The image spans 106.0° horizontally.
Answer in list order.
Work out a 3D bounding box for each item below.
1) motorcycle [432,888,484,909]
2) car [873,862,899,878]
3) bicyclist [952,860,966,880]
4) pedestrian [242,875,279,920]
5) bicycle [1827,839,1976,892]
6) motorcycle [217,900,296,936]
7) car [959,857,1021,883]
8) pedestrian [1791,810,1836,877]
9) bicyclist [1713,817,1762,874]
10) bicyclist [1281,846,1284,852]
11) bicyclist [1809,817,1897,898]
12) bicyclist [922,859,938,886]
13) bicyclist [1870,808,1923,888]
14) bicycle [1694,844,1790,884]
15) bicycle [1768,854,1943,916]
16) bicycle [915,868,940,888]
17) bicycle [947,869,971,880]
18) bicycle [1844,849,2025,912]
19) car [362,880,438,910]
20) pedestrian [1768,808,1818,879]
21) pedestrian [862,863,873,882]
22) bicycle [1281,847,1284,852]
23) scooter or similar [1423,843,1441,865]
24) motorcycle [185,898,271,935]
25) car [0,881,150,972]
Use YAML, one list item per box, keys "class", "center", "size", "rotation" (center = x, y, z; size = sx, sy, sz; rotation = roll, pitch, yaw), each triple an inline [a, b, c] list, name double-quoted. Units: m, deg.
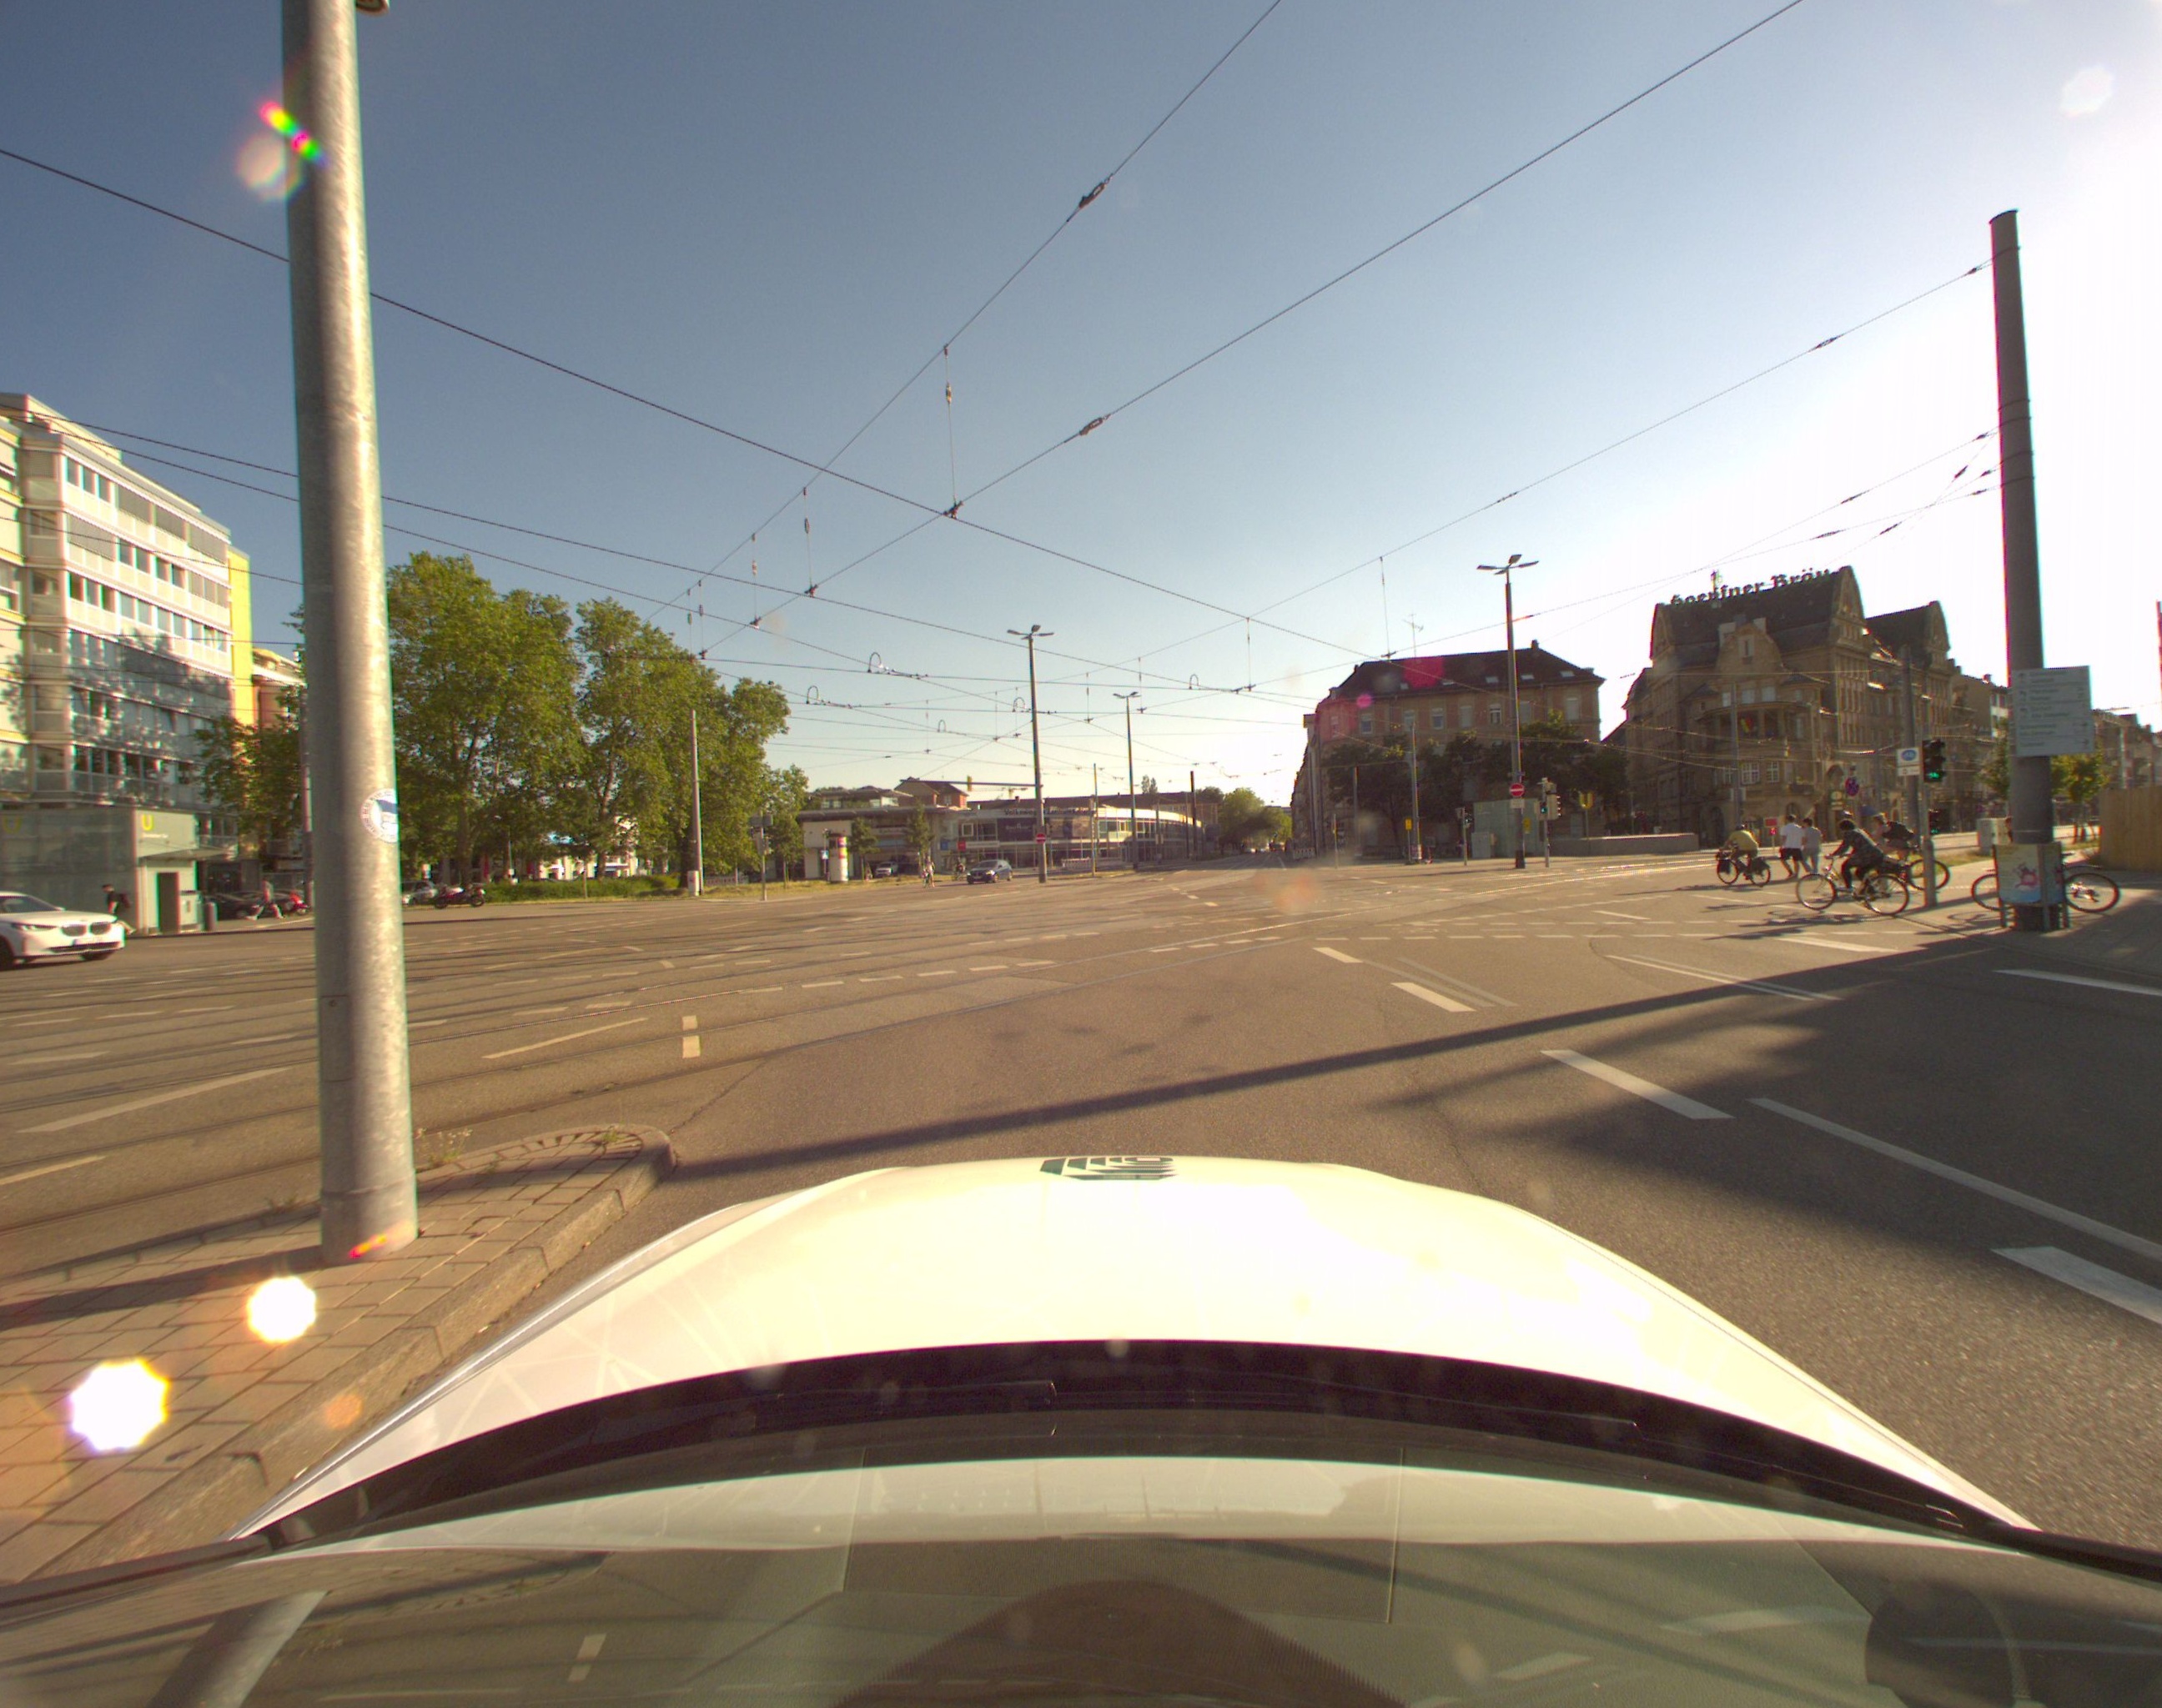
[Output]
- class: "motorcycle"
  center: [-29.176, 2.081, 38.171]
  size: [1.780, 0.914, 0.674]
  rotation: [0, -1, -21]
- class: "car"
  center: [-21.142, 1.722, 88.337]
  size: [1.989, 1.750, 3.995]
  rotation: [-1, -1, -3]
- class: "bicyclist"
  center: [-9.649, 1.244, 64.372]
  size: [0.647, 1.572, 0.928]
  rotation: [-1, -1, 29]
- class: "pedestrian"
  center: [-35.020, 1.841, 34.766]
  size: [0.790, 1.886, 0.760]
  rotation: [-1, -1, 7]
- class: "bicycle"
  center: [18.833, 0.286, 18.766]
  size: [2.290, 1.049, 0.539]
  rotation: [-5, -1, 34]
- class: "motorcycle"
  center: [-44.827, 3.476, 44.333]
  size: [2.678, 1.770, 1.350]
  rotation: [-1, -1, -16]
- class: "car"
  center: [-5.671, 0.999, 51.130]
  size: [1.975, 1.585, 4.024]
  rotation: [-1, -1, 27]
- class: "pedestrian"
  center: [21.364, -0.306, 23.764]
  size: [0.646, 1.922, 0.688]
  rotation: [-1, -1, -7]
- class: "bicyclist"
  center: [18.178, -0.224, 22.555]
  size: [0.514, 1.557, 0.945]
  rotation: [-1, -1, -7]
- class: "bicyclist"
  center: [35.032, -0.891, 141.764]
  size: [0.405, 1.116, 0.400]
  rotation: [-1, -1, 11]
- class: "bicyclist"
  center: [14.327, 0.070, 15.132]
  size: [0.710, 1.439, 0.941]
  rotation: [0, -1, -17]
- class: "bicyclist"
  center: [-9.172, 1.102, 49.374]
  size: [0.593, 1.615, 0.826]
  rotation: [-1, -1, 18]
- class: "bicyclist"
  center: [18.810, -0.128, 18.789]
  size: [0.526, 1.779, 0.785]
  rotation: [0, -1, -40]
- class: "bicycle"
  center: [18.183, 0.257, 22.479]
  size: [0.534, 1.049, 2.314]
  rotation: [-1, 0, -8]
- class: "bicycle"
  center: [14.336, 0.536, 15.184]
  size: [0.700, 1.049, 2.307]
  rotation: [-1, 1, -17]
- class: "bicycle"
  center: [-9.242, 1.424, 49.124]
  size: [0.607, 1.189, 1.877]
  rotation: [-1, -1, 18]
- class: "bicycle"
  center: [-9.616, 1.616, 64.439]
  size: [0.632, 0.870, 2.249]
  rotation: [-1, -1, 30]
- class: "bicycle"
  center: [15.514, 0.462, 14.920]
  size: [0.698, 1.049, 2.314]
  rotation: [-1, -1, -8]
- class: "car"
  center: [-39.491, 2.360, 47.349]
  size: [1.773, 1.568, 3.981]
  rotation: [-1, -1, -14]
- class: "pedestrian"
  center: [20.658, -0.298, 23.625]
  size: [0.730, 2.014, 0.759]
  rotation: [-1, -1, -7]
- class: "pedestrian"
  center: [-19.086, 1.668, 72.714]
  size: [0.854, 1.694, 0.496]
  rotation: [-1, -1, -2]
- class: "bicycle"
  center: [35.032, -0.798, 141.723]
  size: [0.407, 0.941, 1.852]
  rotation: [-1, -1, 13]
- class: "scooter or similar"
  center: [22.639, 0.027, 52.599]
  size: [0.780, 1.376, 1.915]
  rotation: [-1, -1, 15]
- class: "motorcycle"
  center: [-43.501, 3.172, 41.594]
  size: [2.678, 1.770, 1.350]
  rotation: [-1, -1, -16]
- class: "car"
  center: [-23.917, 1.632, 17.646]
  size: [4.885, 1.824, 1.997]
  rotation: [-3, -1, -4]
